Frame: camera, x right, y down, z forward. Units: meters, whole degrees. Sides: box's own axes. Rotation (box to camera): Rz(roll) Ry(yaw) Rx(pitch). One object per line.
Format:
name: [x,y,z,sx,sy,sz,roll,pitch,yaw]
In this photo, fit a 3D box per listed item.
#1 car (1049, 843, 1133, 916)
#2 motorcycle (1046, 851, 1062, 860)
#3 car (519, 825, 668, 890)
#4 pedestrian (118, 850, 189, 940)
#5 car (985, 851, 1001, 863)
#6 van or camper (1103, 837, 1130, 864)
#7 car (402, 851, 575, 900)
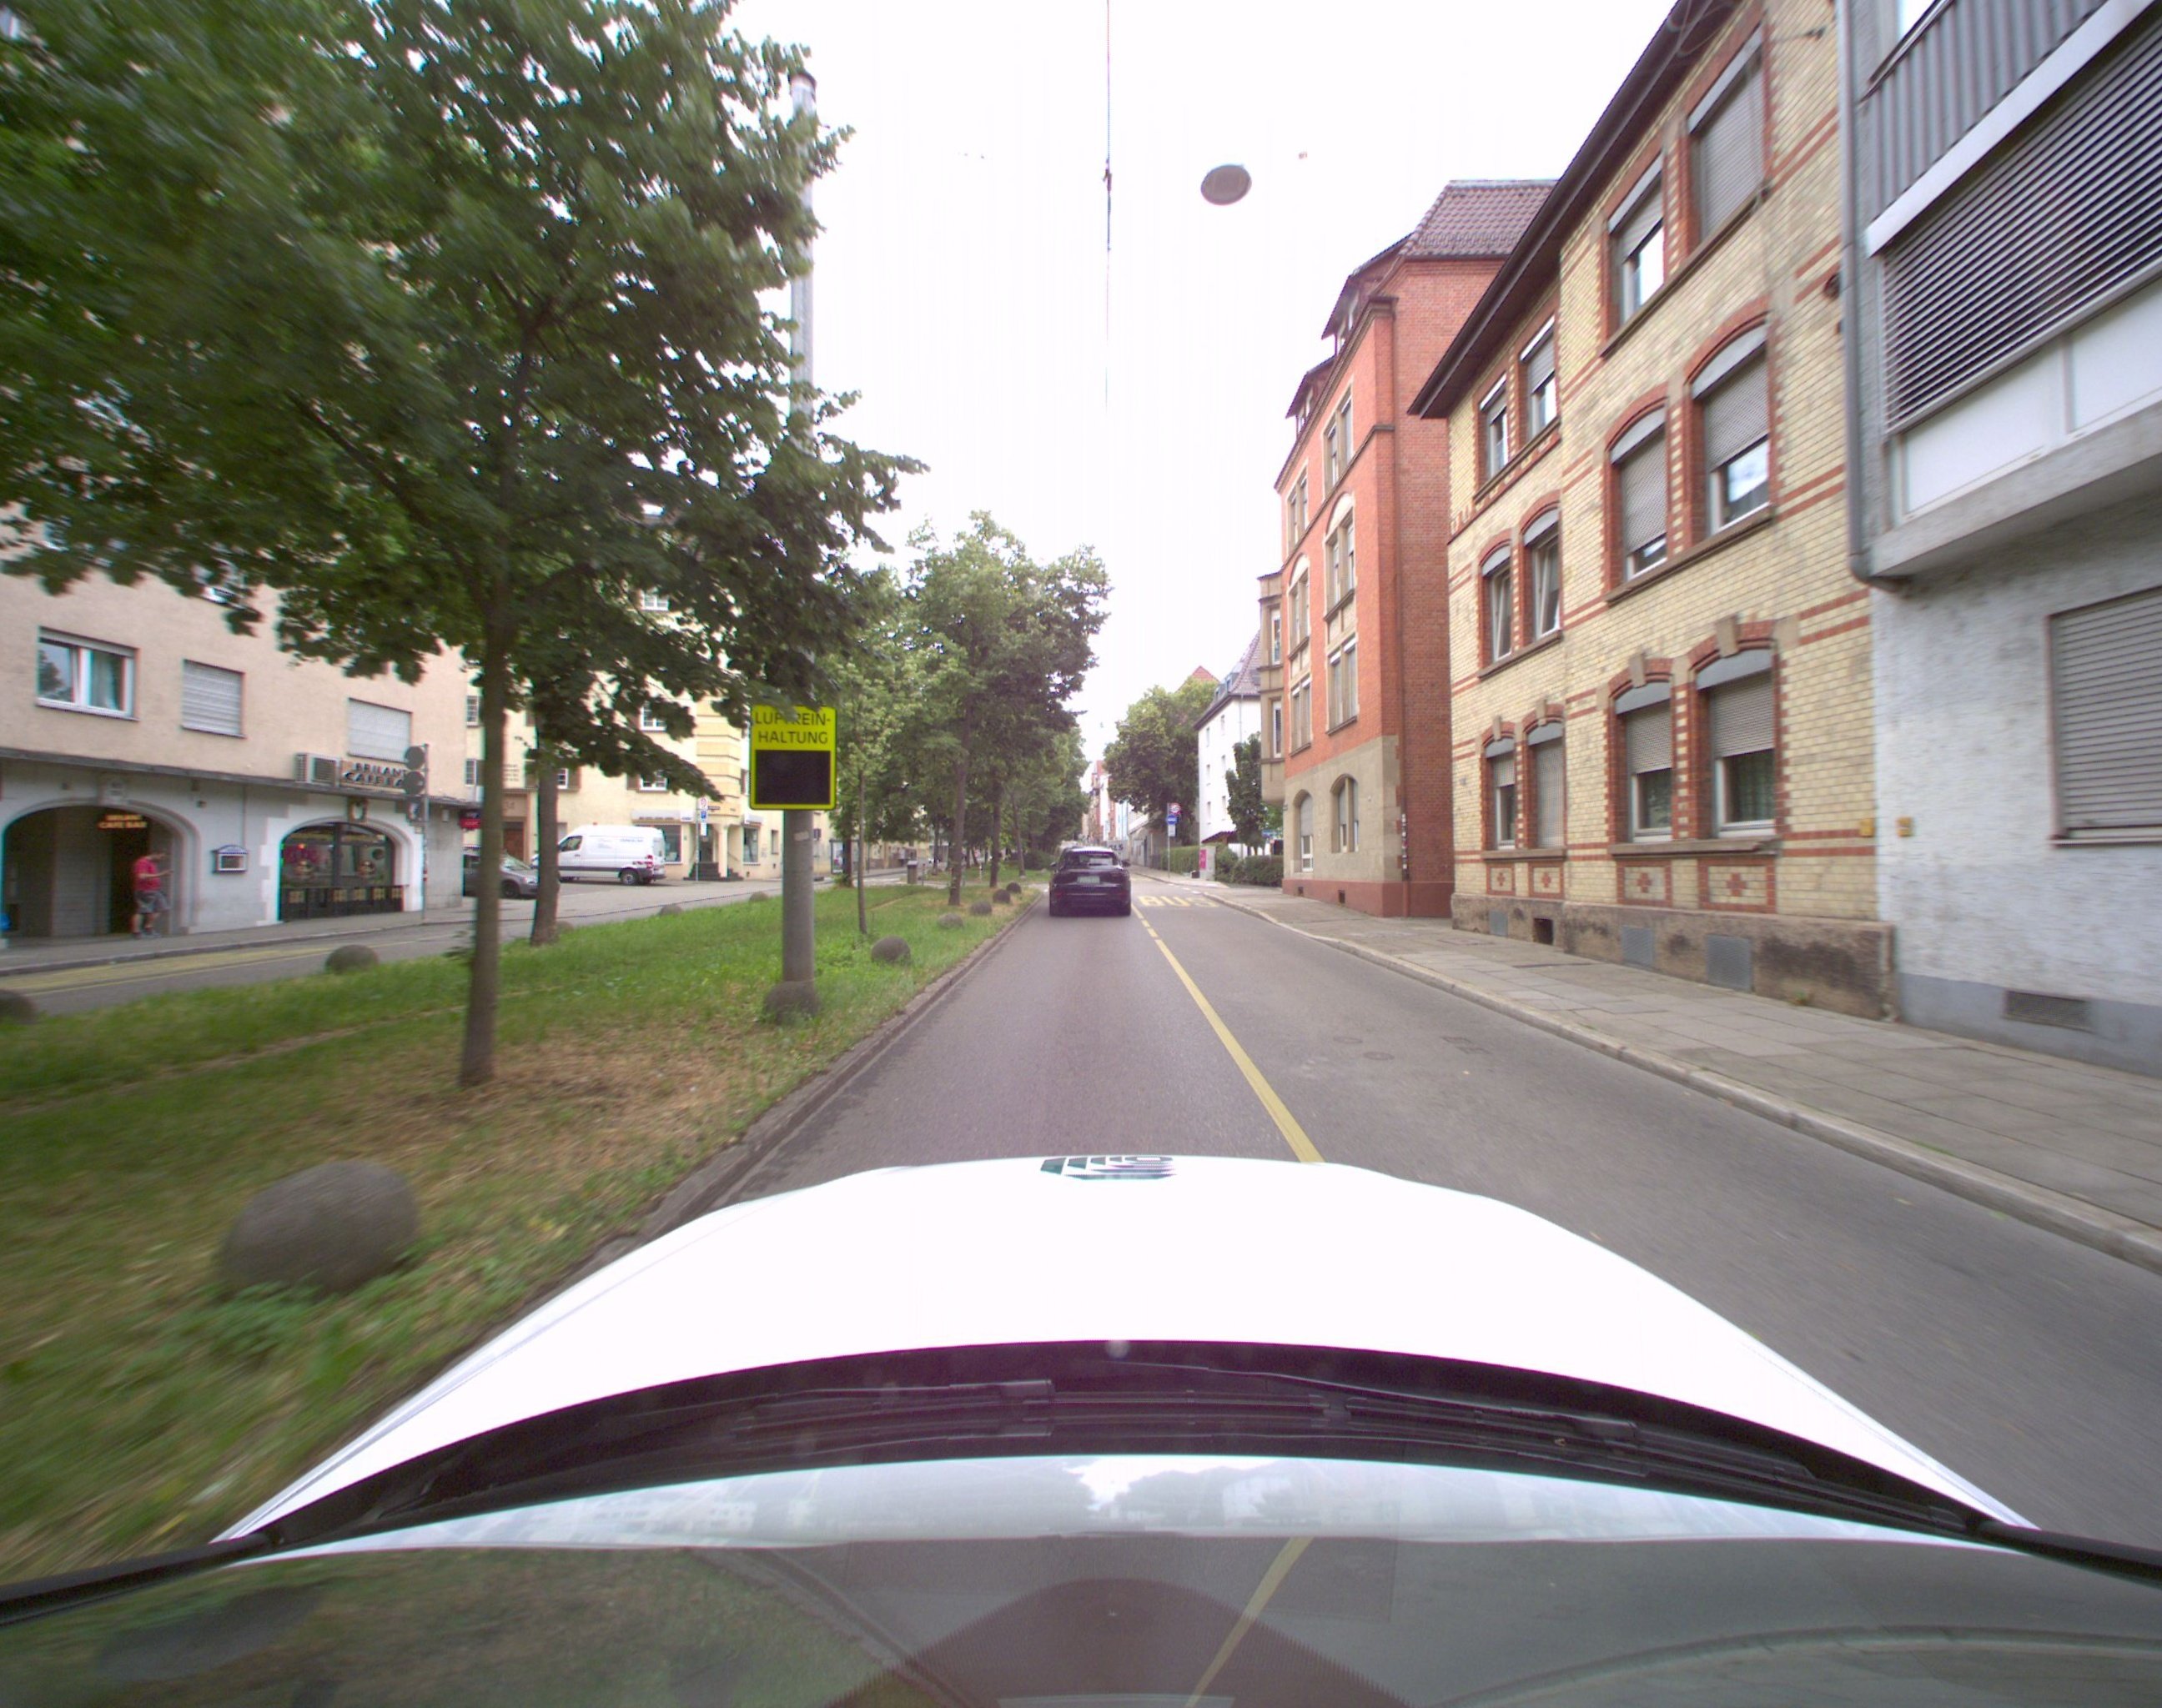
car: [0.151,0.602,20.872,1.899,1.666,4.131,-1,0,-3]
motorcycle: [-4.241,0.230,127.870,2.350,1.235,1.032,-1,1,-3]
car: [-21.509,0.177,36.165,5.171,2.736,2.170,1,0,-9]
pedestrian: [-17.749,0.770,15.600,0.530,1.666,0.701,-1,0,1]
car: [-14.003,0.514,129.672,1.944,1.628,4.361,-7,0,-2]
van or camper: [3.836,-0.332,88.677,2.472,2.803,7.235,-1,0,-1]
car: [-19.882,0.691,27.454,4.273,1.420,2.048,2,1,1]
